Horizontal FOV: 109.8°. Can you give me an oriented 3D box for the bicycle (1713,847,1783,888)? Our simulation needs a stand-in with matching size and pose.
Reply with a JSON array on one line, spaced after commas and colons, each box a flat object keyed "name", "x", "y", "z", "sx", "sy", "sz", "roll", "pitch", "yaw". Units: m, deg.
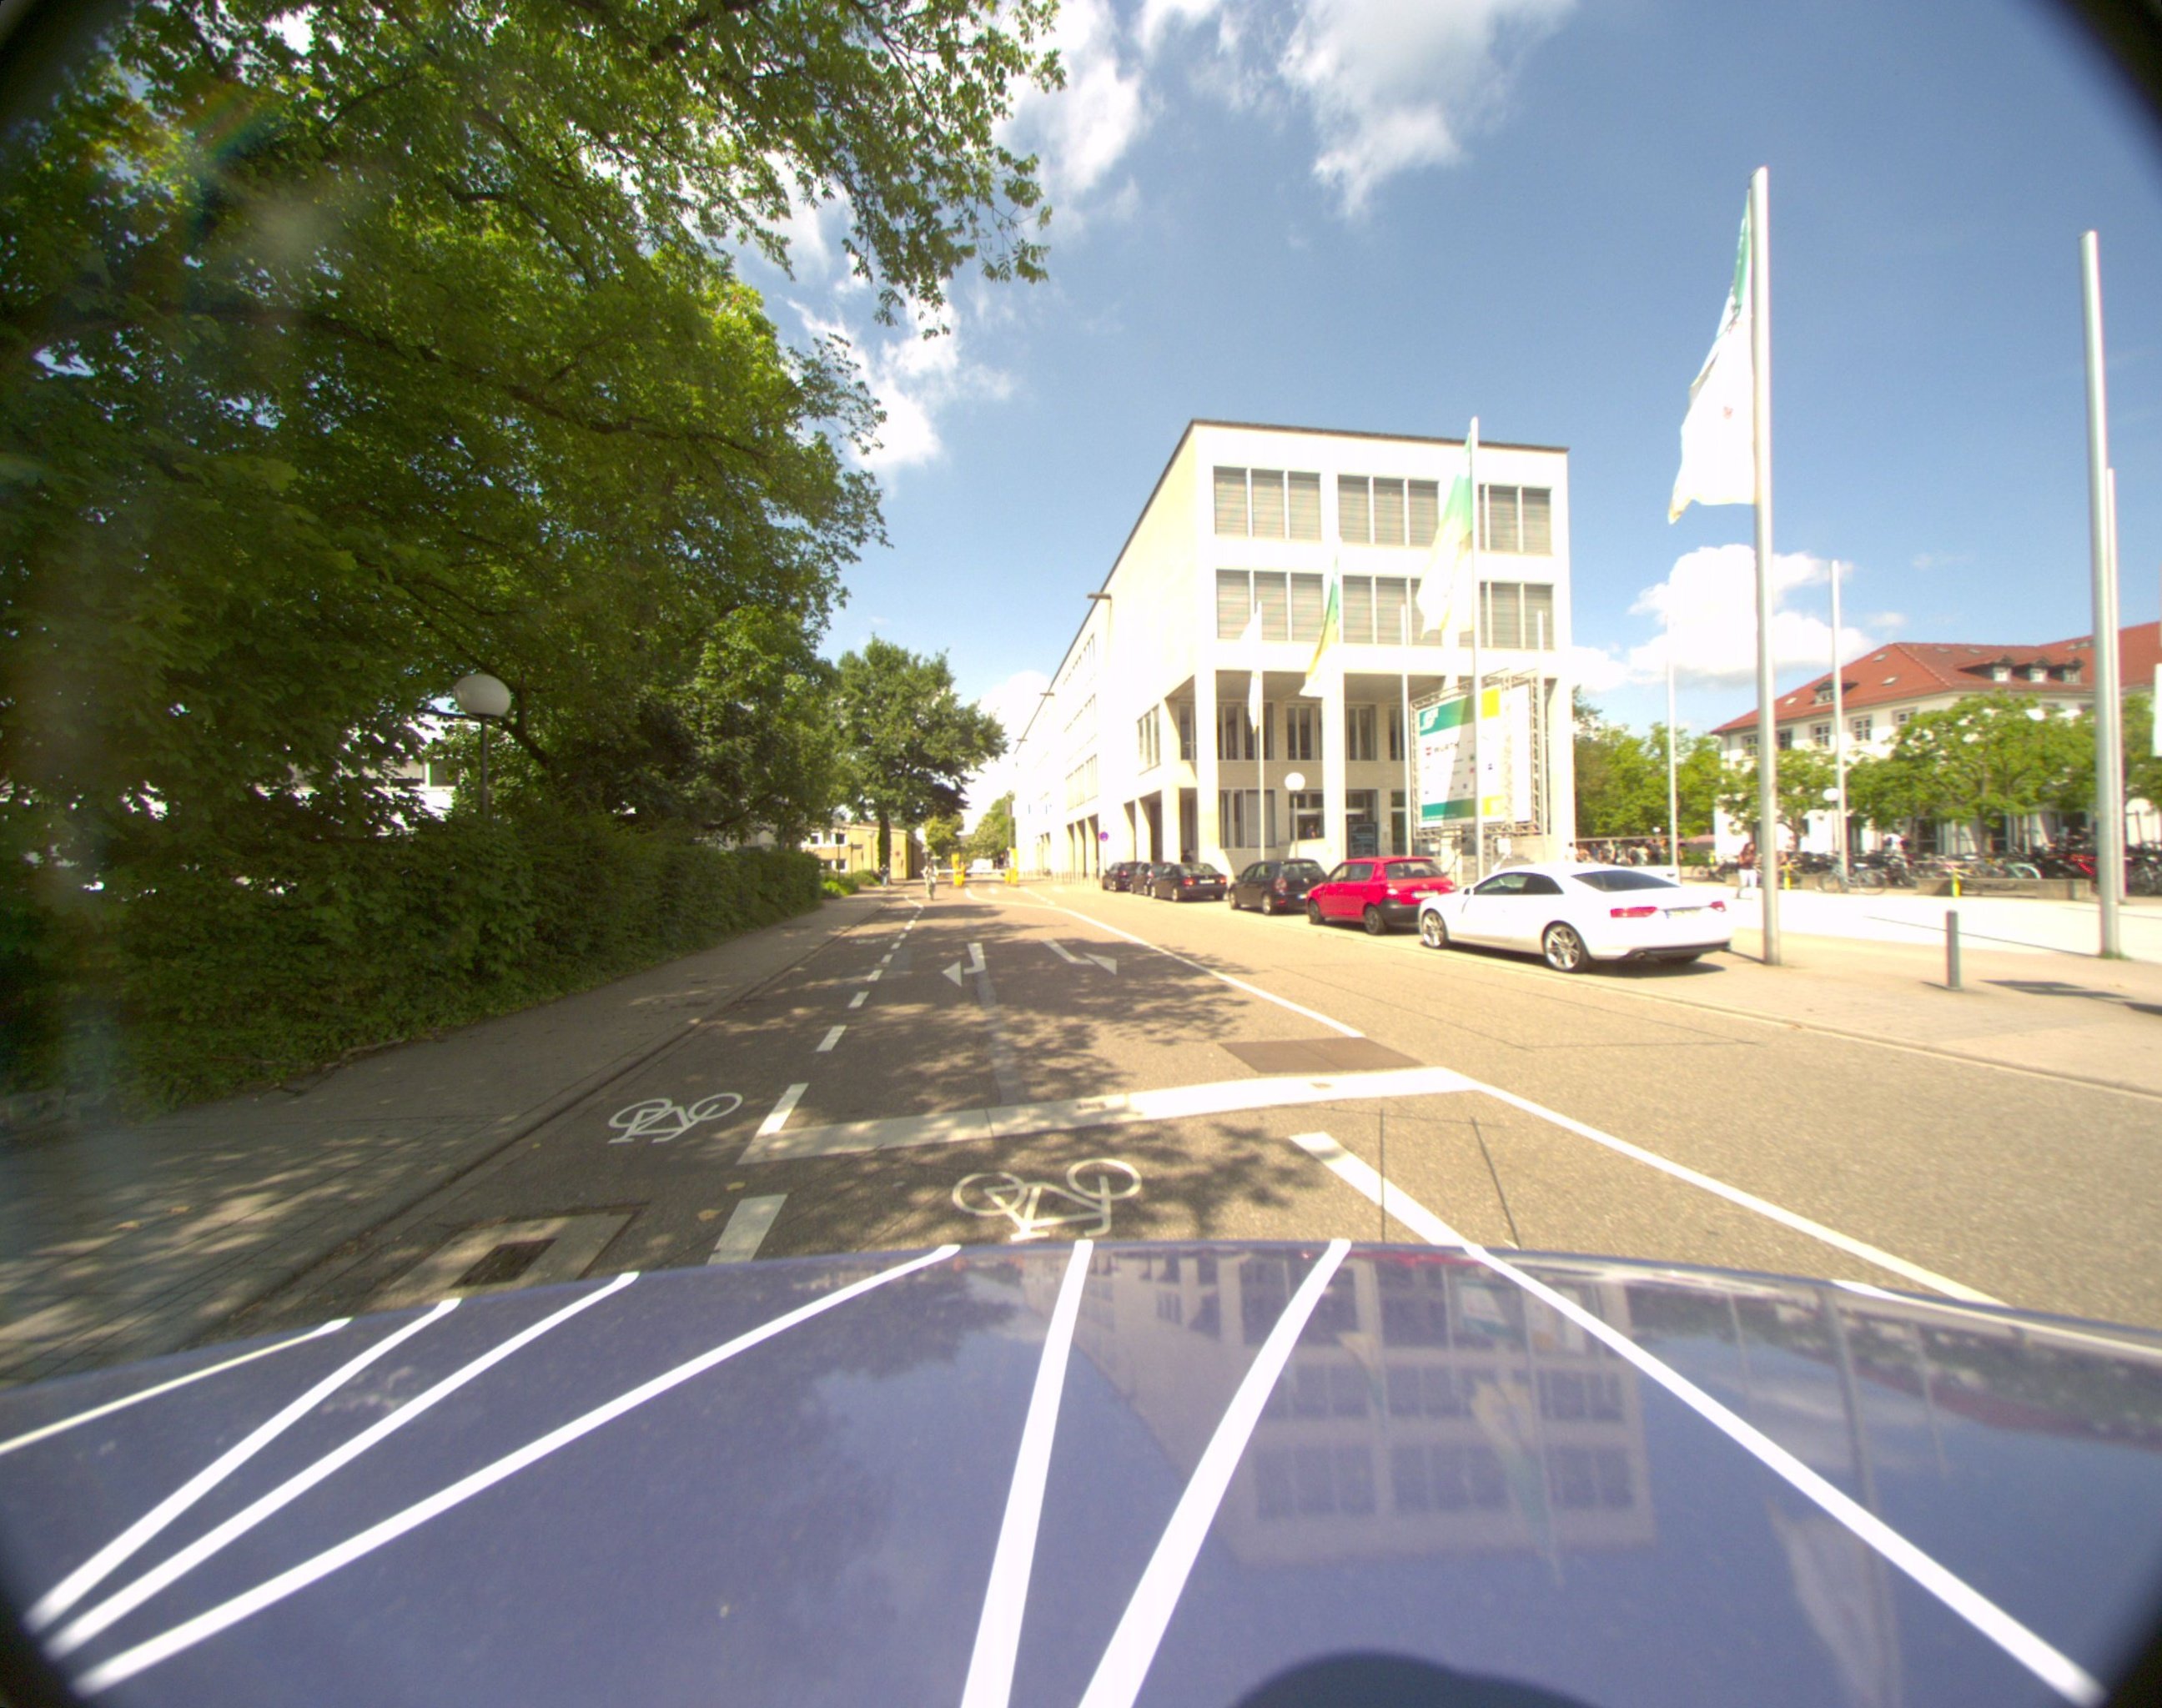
[{"name": "bicycle", "x": 25.213, "y": 0.499, "z": 28.693, "sx": 2.956, "sy": 1.403, "sz": 1.145, "roll": -2, "pitch": 0, "yaw": -32}]

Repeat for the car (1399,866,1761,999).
[{"name": "car", "x": 6.753, "y": 0.933, "z": 11.065, "sx": 1.682, "sy": 1.387, "sz": 4.659, "roll": -3, "pitch": 0, "yaw": -9}]

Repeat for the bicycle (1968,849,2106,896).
[{"name": "bicycle", "x": 30.620, "y": 0.550, "z": 24.449, "sx": 1.146, "sy": 1.403, "sz": 2.954, "roll": -2, "pitch": 0, "yaw": 13}]

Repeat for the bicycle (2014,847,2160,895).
[{"name": "bicycle", "x": 31.845, "y": 0.511, "z": 24.170, "sx": 1.146, "sy": 1.403, "sz": 2.954, "roll": -2, "pitch": 0, "yaw": 13}]

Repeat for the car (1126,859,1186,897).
[{"name": "car", "x": 3.226, "y": 1.016, "z": 33.222, "sx": 1.644, "sy": 1.458, "sz": 3.704, "roll": -3, "pitch": 0, "yaw": -9}]

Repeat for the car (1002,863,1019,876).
[{"name": "car", "x": -9.029, "y": 1.995, "z": 97.151, "sx": 1.732, "sy": 1.526, "sz": 4.402, "roll": -3, "pitch": 1, "yaw": -9}]

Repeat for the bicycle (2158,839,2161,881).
[{"name": "bicycle", "x": 36.894, "y": 0.185, "z": 24.176, "sx": 1.064, "sy": 1.403, "sz": 2.951, "roll": -2, "pitch": 0, "yaw": 2}]

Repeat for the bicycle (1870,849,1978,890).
[{"name": "bicycle", "x": 30.835, "y": 0.546, "z": 27.881, "sx": 1.146, "sy": 1.403, "sz": 2.954, "roll": -2, "pitch": 0, "yaw": 13}]

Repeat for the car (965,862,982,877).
[{"name": "car", "x": -13.551, "y": 1.955, "z": 95.877, "sx": 2.000, "sy": 1.805, "sz": 3.997, "roll": -1, "pitch": -1, "yaw": -8}]

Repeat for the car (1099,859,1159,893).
[{"name": "car", "x": 2.284, "y": 1.036, "z": 37.615, "sx": 1.865, "sy": 1.458, "sz": 4.715, "roll": -3, "pitch": 0, "yaw": -9}]

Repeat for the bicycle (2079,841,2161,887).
[{"name": "bicycle", "x": 33.354, "y": 0.296, "z": 23.528, "sx": 1.064, "sy": 1.403, "sz": 2.951, "roll": -2, "pitch": 0, "yaw": 2}]

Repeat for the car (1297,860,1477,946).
[{"name": "car", "x": 6.178, "y": 0.912, "z": 15.893, "sx": 1.682, "sy": 1.458, "sz": 3.908, "roll": -3, "pitch": 0, "yaw": -9}]

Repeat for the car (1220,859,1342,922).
[{"name": "car", "x": 5.425, "y": 0.932, "z": 21.179, "sx": 1.753, "sy": 1.458, "sz": 4.193, "roll": -3, "pitch": 0, "yaw": -8}]

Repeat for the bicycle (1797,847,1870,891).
[{"name": "bicycle", "x": 26.403, "y": 0.516, "z": 26.652, "sx": 2.956, "sy": 1.403, "sz": 1.145, "roll": -2, "pitch": 0, "yaw": -32}]

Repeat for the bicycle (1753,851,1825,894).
[{"name": "bicycle", "x": 25.800, "y": 0.648, "z": 27.667, "sx": 2.956, "sy": 1.403, "sz": 1.145, "roll": -2, "pitch": 0, "yaw": -32}]

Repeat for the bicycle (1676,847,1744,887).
[{"name": "bicycle", "x": 24.630, "y": 0.490, "z": 29.721, "sx": 2.956, "sy": 1.403, "sz": 1.145, "roll": -2, "pitch": 0, "yaw": -32}]

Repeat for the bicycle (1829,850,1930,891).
[{"name": "bicycle", "x": 29.735, "y": 0.581, "z": 28.384, "sx": 1.146, "sy": 1.403, "sz": 2.954, "roll": -2, "pitch": 0, "yaw": 13}]

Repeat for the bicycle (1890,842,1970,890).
[{"name": "bicycle", "x": 26.860, "y": 0.359, "z": 24.026, "sx": 2.956, "sy": 1.403, "sz": 1.145, "roll": -2, "pitch": 0, "yaw": -32}]

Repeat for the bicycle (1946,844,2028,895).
[{"name": "bicycle", "x": 27.195, "y": 0.432, "z": 22.800, "sx": 2.956, "sy": 1.403, "sz": 1.145, "roll": -2, "pitch": 0, "yaw": -32}]

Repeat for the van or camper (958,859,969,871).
[{"name": "van or camper", "x": -24.683, "y": 2.312, "z": 159.697, "sx": 1.999, "sy": 2.347, "sz": 4.382, "roll": -1, "pitch": 0, "yaw": -3}]

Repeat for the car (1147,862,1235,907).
[{"name": "car", "x": 3.923, "y": 1.046, "z": 28.069, "sx": 1.865, "sy": 1.370, "sz": 5.013, "roll": -3, "pitch": 0, "yaw": -8}]

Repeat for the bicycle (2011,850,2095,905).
[{"name": "bicycle", "x": 27.751, "y": 0.638, "z": 21.680, "sx": 2.956, "sy": 1.403, "sz": 1.145, "roll": -2, "pitch": 0, "yaw": -32}]

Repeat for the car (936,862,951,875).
[{"name": "car", "x": -17.526, "y": 1.849, "z": 97.037, "sx": 1.762, "sy": 1.559, "sz": 3.814, "roll": 0, "pitch": -1, "yaw": -10}]

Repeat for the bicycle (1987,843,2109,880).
[{"name": "bicycle", "x": 39.278, "y": 0.283, "z": 30.955, "sx": 1.147, "sy": 1.403, "sz": 2.951, "roll": -2, "pitch": 0, "yaw": -1}]

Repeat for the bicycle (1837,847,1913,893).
[{"name": "bicycle", "x": 26.425, "y": 0.514, "z": 25.272, "sx": 2.956, "sy": 1.403, "sz": 1.145, "roll": -2, "pitch": 0, "yaw": -32}]

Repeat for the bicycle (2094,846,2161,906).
[{"name": "bicycle", "x": 27.532, "y": 0.531, "z": 19.759, "sx": 2.956, "sy": 1.403, "sz": 1.145, "roll": -2, "pitch": 0, "yaw": -32}]

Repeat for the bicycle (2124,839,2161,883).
[{"name": "bicycle", "x": 35.754, "y": 0.221, "z": 24.191, "sx": 1.064, "sy": 1.403, "sz": 2.951, "roll": -2, "pitch": 0, "yaw": 2}]

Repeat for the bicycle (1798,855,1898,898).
[{"name": "bicycle", "x": 22.639, "y": 0.644, "z": 22.498, "sx": 0.651, "sy": 1.208, "sz": 2.093, "roll": -2, "pitch": 0, "yaw": -9}]

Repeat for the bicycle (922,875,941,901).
[{"name": "bicycle", "x": -6.386, "y": 1.438, "z": 32.443, "sx": 0.781, "sy": 1.042, "sz": 1.911, "roll": -1, "pitch": 0, "yaw": -11}]

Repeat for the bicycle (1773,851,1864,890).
[{"name": "bicycle", "x": 28.720, "y": 0.614, "z": 29.671, "sx": 1.146, "sy": 1.403, "sz": 2.954, "roll": -2, "pitch": 0, "yaw": 13}]

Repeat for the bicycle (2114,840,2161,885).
[{"name": "bicycle", "x": 34.492, "y": 0.260, "z": 23.521, "sx": 1.064, "sy": 1.403, "sz": 2.951, "roll": -2, "pitch": 0, "yaw": 2}]
